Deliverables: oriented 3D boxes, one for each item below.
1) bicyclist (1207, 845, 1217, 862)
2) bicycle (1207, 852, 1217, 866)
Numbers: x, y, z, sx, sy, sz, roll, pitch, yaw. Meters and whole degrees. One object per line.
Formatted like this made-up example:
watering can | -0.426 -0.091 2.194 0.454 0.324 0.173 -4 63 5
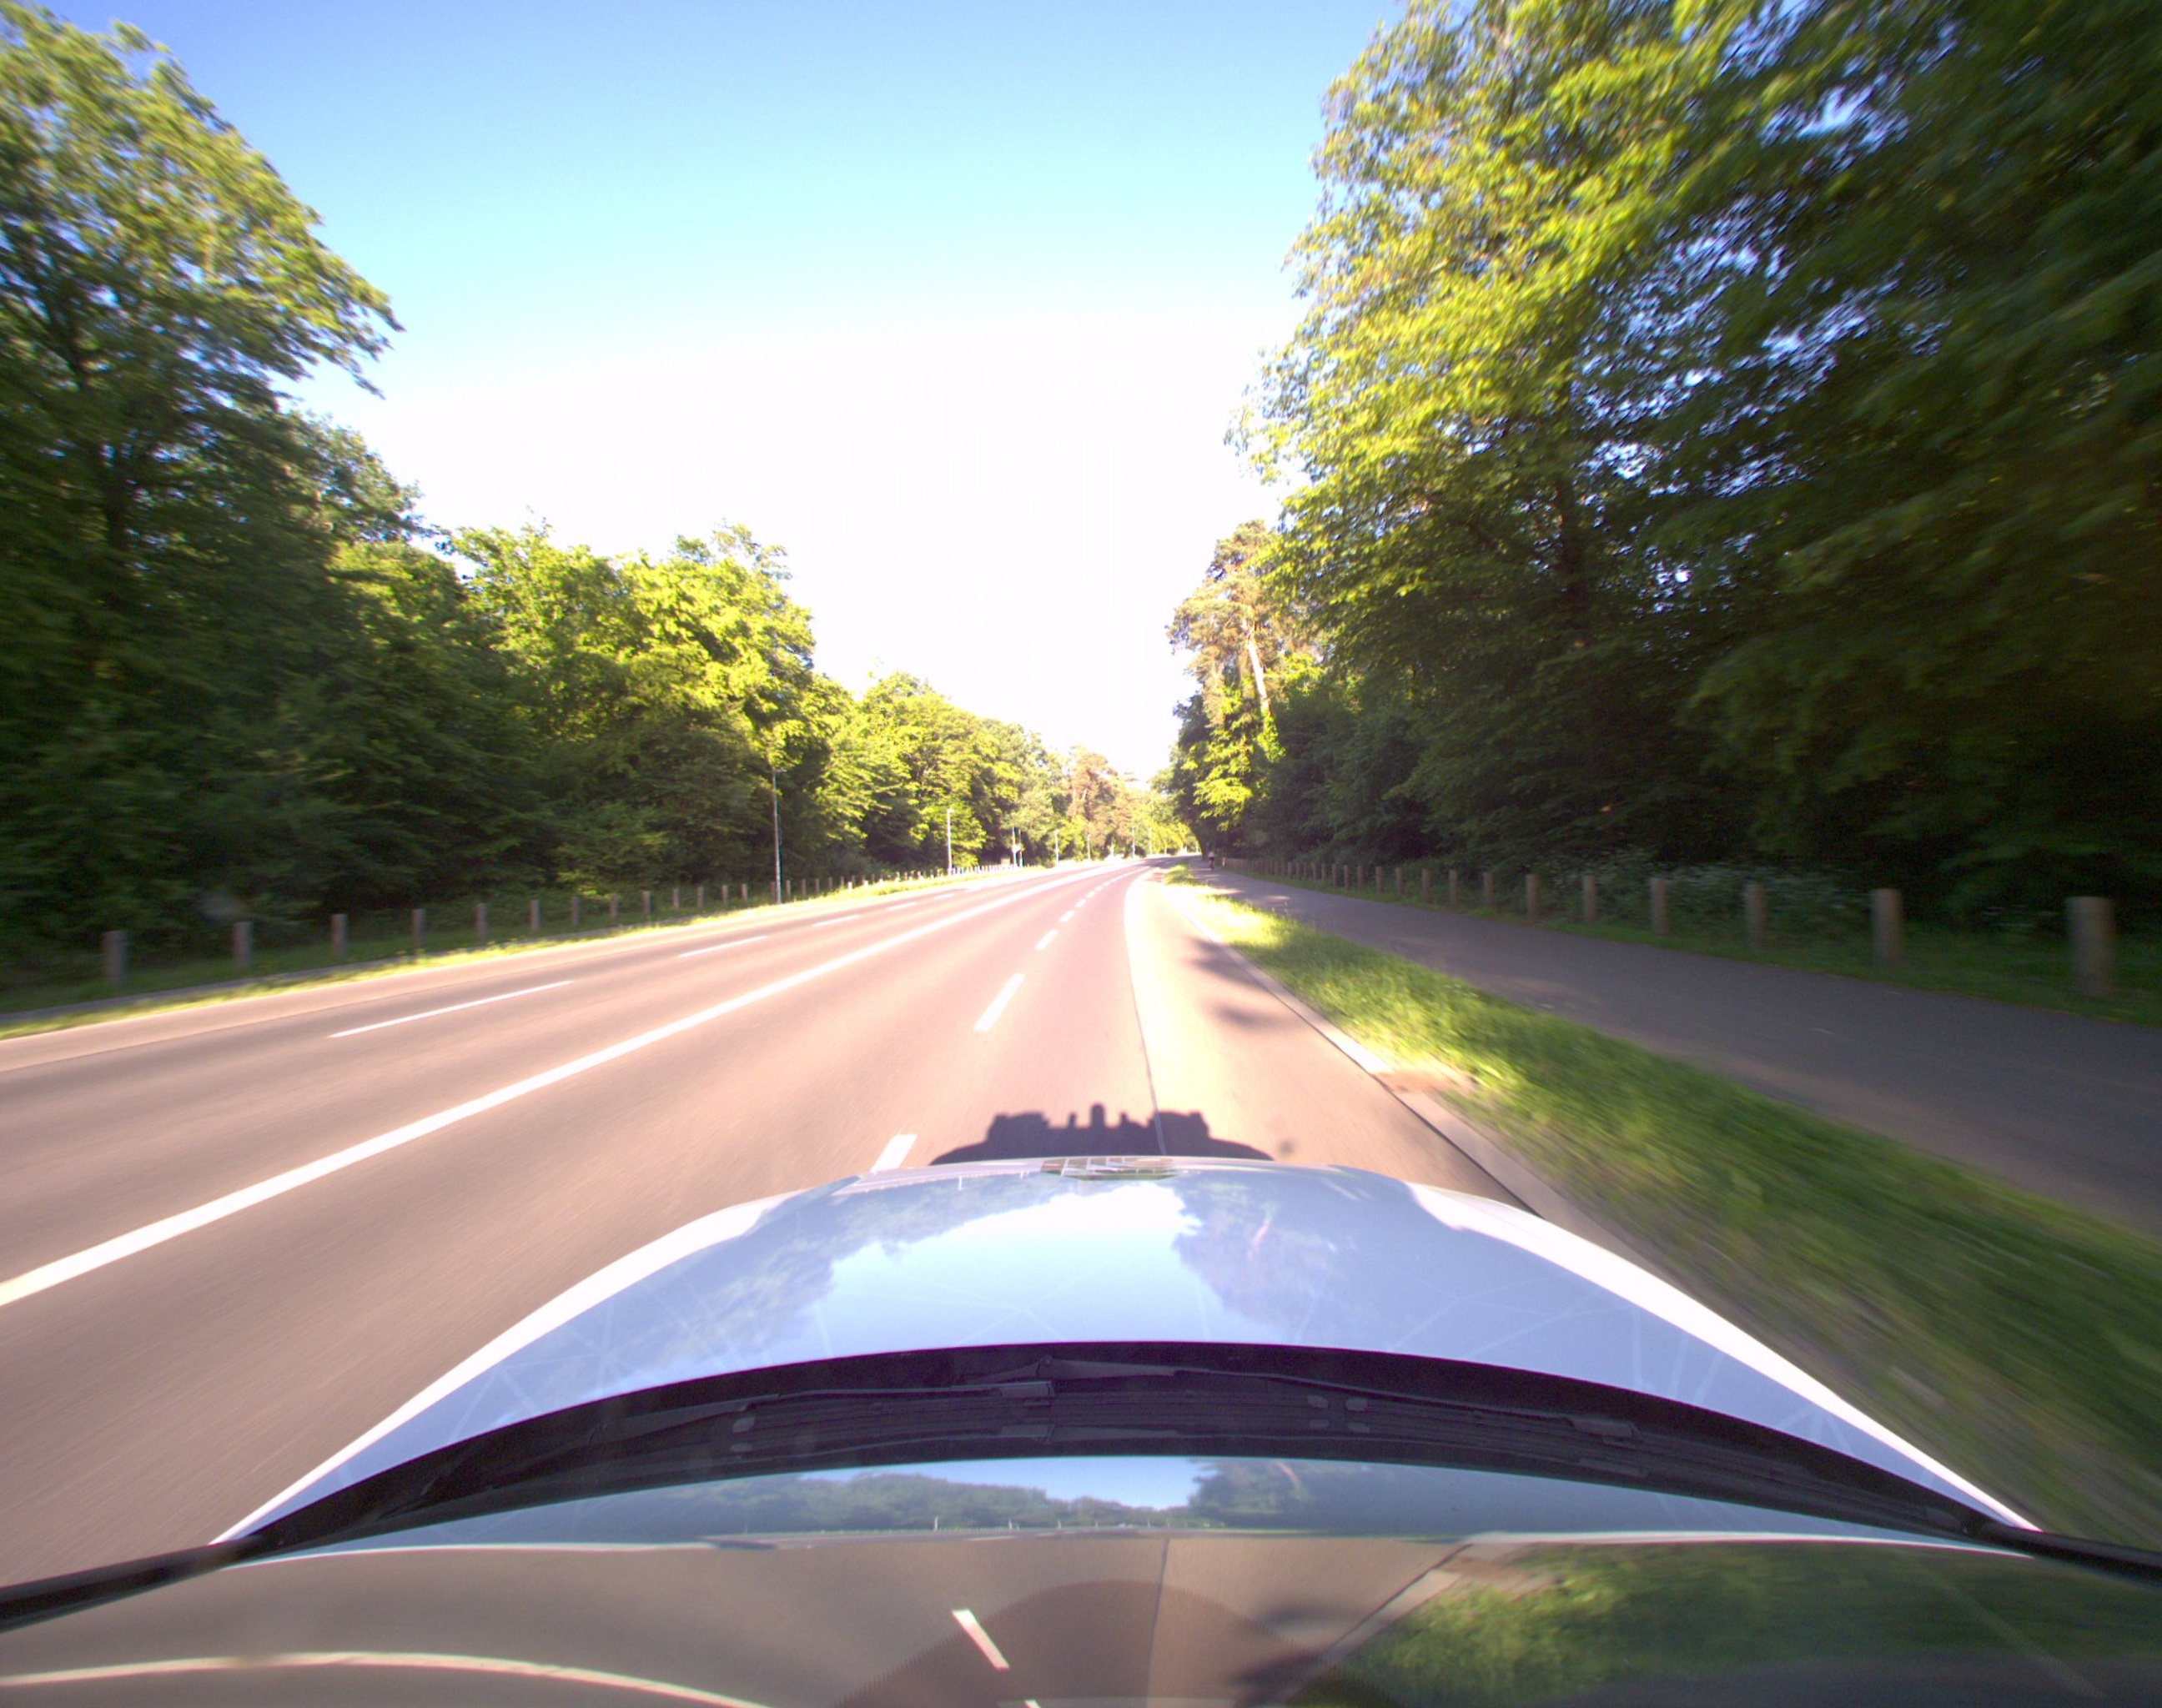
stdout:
bicyclist | 10.360 -0.042 64.599 0.708 1.289 1.106 -2 -1 7
bicycle | 10.366 0.417 64.559 0.708 1.056 2.057 -2 -1 8
